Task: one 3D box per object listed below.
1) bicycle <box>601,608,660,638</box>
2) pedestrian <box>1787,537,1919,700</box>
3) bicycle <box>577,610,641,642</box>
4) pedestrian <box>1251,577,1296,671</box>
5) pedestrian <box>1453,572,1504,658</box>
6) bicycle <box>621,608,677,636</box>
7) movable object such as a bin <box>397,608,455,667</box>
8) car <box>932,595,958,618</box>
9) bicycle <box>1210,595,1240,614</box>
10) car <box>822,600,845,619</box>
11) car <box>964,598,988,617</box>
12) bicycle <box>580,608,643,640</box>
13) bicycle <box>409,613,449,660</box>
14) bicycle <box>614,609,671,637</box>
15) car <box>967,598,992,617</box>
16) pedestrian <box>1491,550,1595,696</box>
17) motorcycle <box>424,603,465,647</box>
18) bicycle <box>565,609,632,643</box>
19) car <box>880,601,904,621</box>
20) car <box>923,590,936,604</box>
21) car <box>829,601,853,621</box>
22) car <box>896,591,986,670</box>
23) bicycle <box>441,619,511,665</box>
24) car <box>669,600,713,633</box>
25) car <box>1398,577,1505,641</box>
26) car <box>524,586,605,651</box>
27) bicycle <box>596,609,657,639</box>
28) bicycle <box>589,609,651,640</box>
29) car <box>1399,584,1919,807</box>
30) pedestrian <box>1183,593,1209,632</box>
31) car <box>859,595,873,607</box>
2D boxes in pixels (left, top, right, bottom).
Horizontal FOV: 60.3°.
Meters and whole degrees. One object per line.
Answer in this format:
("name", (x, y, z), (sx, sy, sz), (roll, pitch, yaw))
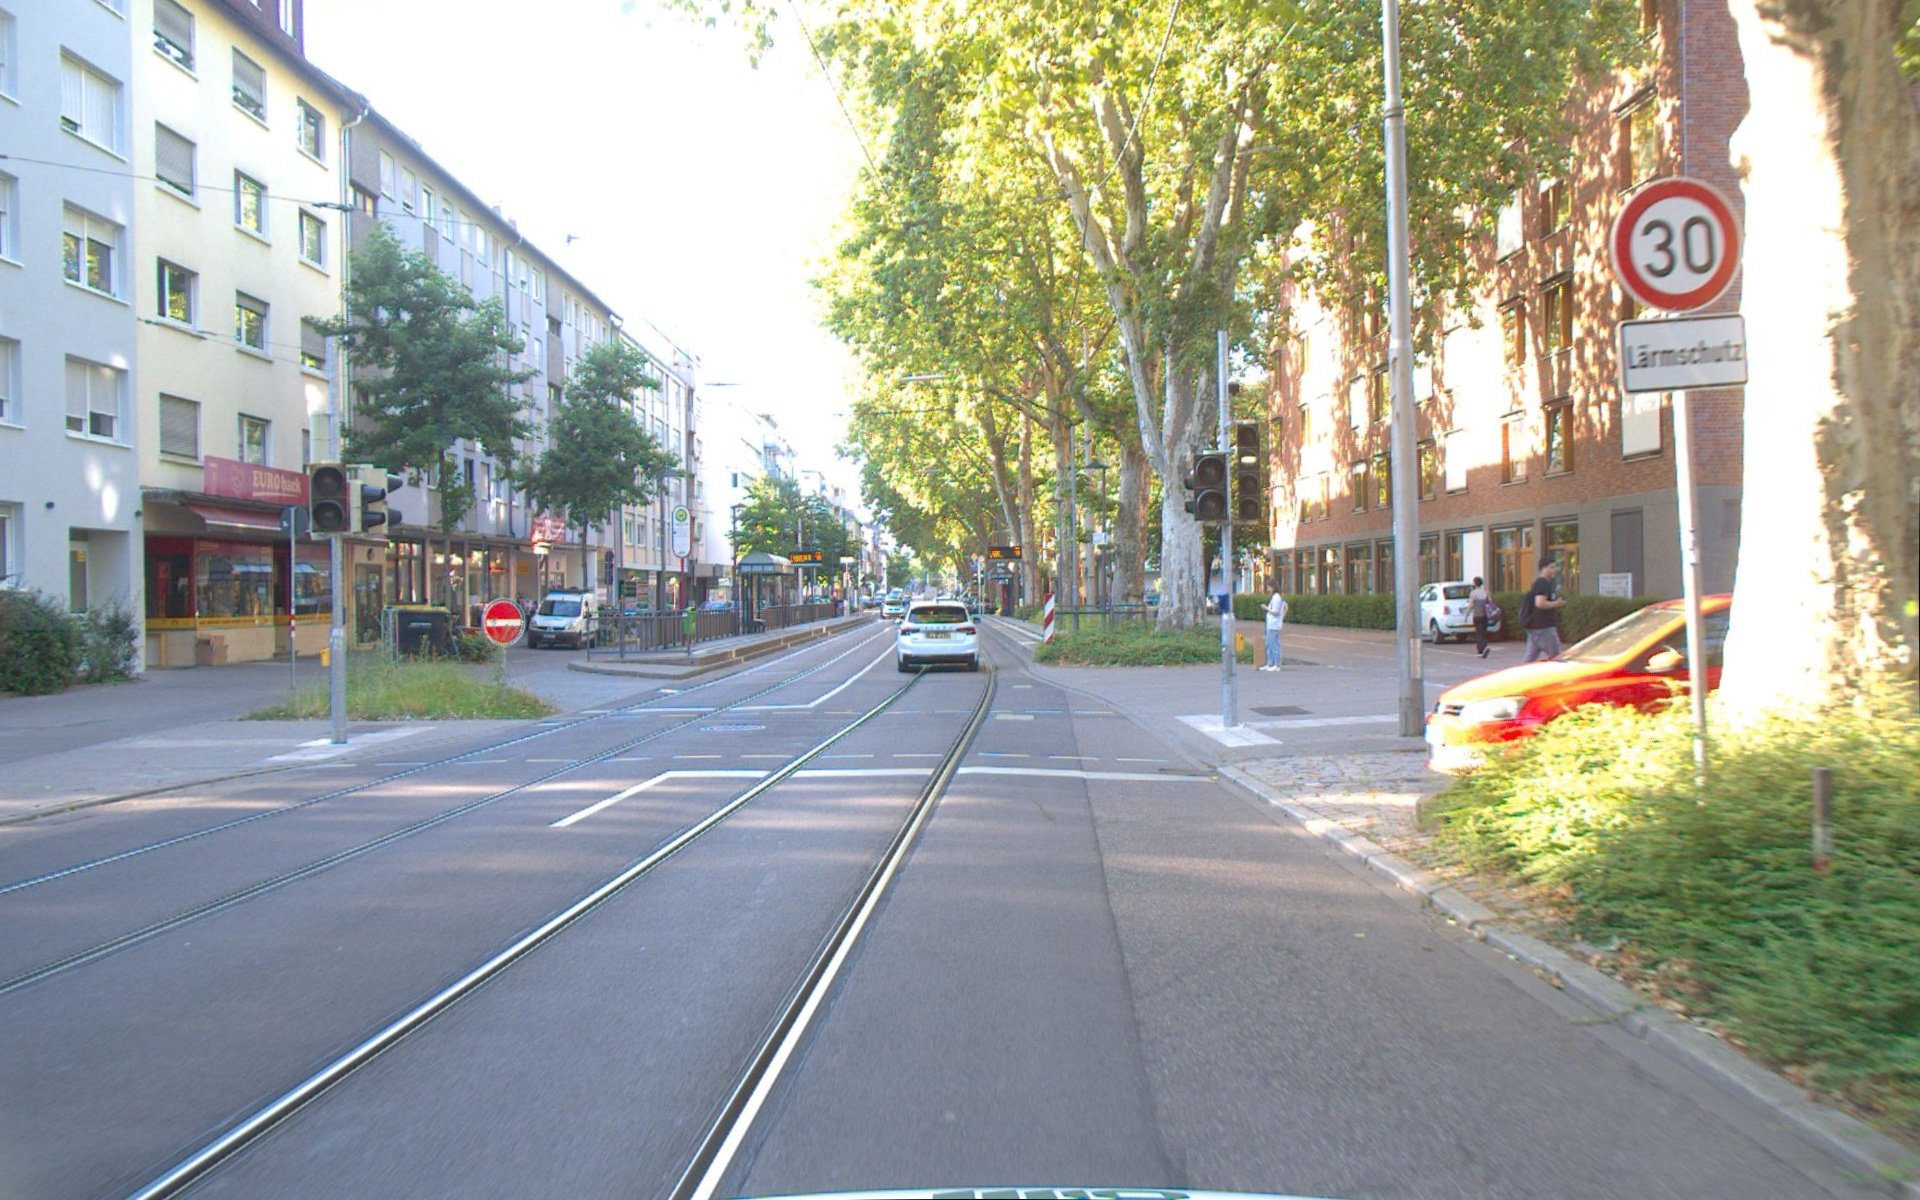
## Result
("bicycle", (-13.231, 0.931, 66.511), (2.206, 1.093, 0.636), (2, 0, 0))
("pedestrian", (11.105, 0.216, 20.554), (0.964, 1.896, 1.015), (-5, 0, -6))
("bicycle", (-12.953, 0.944, 61.072), (2.206, 1.093, 0.636), (2, 0, 0))
("pedestrian", (5.735, 0.434, 30.302), (0.639, 1.698, 0.738), (-1, 0, -1))
("pedestrian", (10.568, 0.300, 33.729), (0.721, 1.698, 0.834), (-1, 0, -1))
("bicycle", (-13.176, 0.944, 70.105), (2.206, 1.093, 0.636), (2, 0, 0))
("movable object such as a bin", (-12.973, 0.903, 40.206), (1.147, 1.372, 0.782), (2, 0, -5))
("car", (-1.054, 0.422, 115.879), (1.752, 1.540, 3.999), (-1, 0, -1))
("bicycle", (14.760, 0.251, 92.147), (1.533, 1.055, 0.479), (-1, 0, 21))
("car", (-11.040, 0.848, 144.516), (1.644, 1.575, 3.999), (1, 0, -1))
("car", (1.337, 0.635, 139.925), (1.953, 1.478, 3.999), (-1, 0, -1))
("bicycle", (-13.230, 0.911, 62.756), (2.206, 1.093, 0.636), (2, 0, 0))
("bicycle", (-13.347, 0.897, 41.601), (0.488, 1.127, 1.799), (2, 0, -3))
("bicycle", (-13.109, 0.944, 68.344), (2.206, 1.093, 0.636), (2, 0, 0))
("car", (1.578, 0.629, 134.842), (1.953, 1.478, 3.999), (-1, 0, -1))
("pedestrian", (7.601, 0.295, 21.592), (0.975, 1.842, 0.863), (-2, 0, -6))
("motorcycle", (-16.293, 0.790, 52.325), (0.586, 1.334, 2.222), (-1, 0, -1))
("bicycle", (-12.978, 0.931, 59.424), (2.206, 1.093, 0.636), (2, 0, 0))
("car", (-5.182, 0.816, 126.136), (1.659, 1.444, 3.999), (-1, 0, -1))
("car", (-4.296, -0.400, 234.310), (1.828, 1.925, 3.999), (-1, 0, -1))
("car", (-9.509, 0.870, 131.968), (1.644, 1.575, 3.999), (1, 0, -1))
("car", (-0.404, 0.605, 35.022), (1.752, 1.540, 3.999), (-1, 0, -1))
("bicycle", (-12.358, 1.066, 42.286), (1.503, 1.094, 0.885), (2, 0, -2))
("car", (-13.494, 0.818, 83.091), (1.561, 1.575, 3.999), (1, 0, -1))
("car", (12.370, 0.219, 41.799), (1.568, 1.521, 3.416), (-1, 0, -2))
("car", (-12.744, 0.568, 53.496), (1.654, 1.974, 3.999), (-1, 0, -1))
("bicycle", (-13.061, 0.927, 64.767), (2.206, 1.093, 0.636), (2, 0, 0))
("bicycle", (-13.055, 0.926, 63.504), (2.206, 1.093, 0.636), (2, 0, 0))
("car", (5.363, 0.655, 12.209), (3.804, 1.448, 1.649), (-2, 0, 2))
("pedestrian", (10.023, 0.532, 70.206), (0.952, 1.652, 0.887), (-1, 0, -1))
("car", (-12.955, 0.101, 228.715), (1.752, 1.540, 3.999), (-1, 0, -1))
